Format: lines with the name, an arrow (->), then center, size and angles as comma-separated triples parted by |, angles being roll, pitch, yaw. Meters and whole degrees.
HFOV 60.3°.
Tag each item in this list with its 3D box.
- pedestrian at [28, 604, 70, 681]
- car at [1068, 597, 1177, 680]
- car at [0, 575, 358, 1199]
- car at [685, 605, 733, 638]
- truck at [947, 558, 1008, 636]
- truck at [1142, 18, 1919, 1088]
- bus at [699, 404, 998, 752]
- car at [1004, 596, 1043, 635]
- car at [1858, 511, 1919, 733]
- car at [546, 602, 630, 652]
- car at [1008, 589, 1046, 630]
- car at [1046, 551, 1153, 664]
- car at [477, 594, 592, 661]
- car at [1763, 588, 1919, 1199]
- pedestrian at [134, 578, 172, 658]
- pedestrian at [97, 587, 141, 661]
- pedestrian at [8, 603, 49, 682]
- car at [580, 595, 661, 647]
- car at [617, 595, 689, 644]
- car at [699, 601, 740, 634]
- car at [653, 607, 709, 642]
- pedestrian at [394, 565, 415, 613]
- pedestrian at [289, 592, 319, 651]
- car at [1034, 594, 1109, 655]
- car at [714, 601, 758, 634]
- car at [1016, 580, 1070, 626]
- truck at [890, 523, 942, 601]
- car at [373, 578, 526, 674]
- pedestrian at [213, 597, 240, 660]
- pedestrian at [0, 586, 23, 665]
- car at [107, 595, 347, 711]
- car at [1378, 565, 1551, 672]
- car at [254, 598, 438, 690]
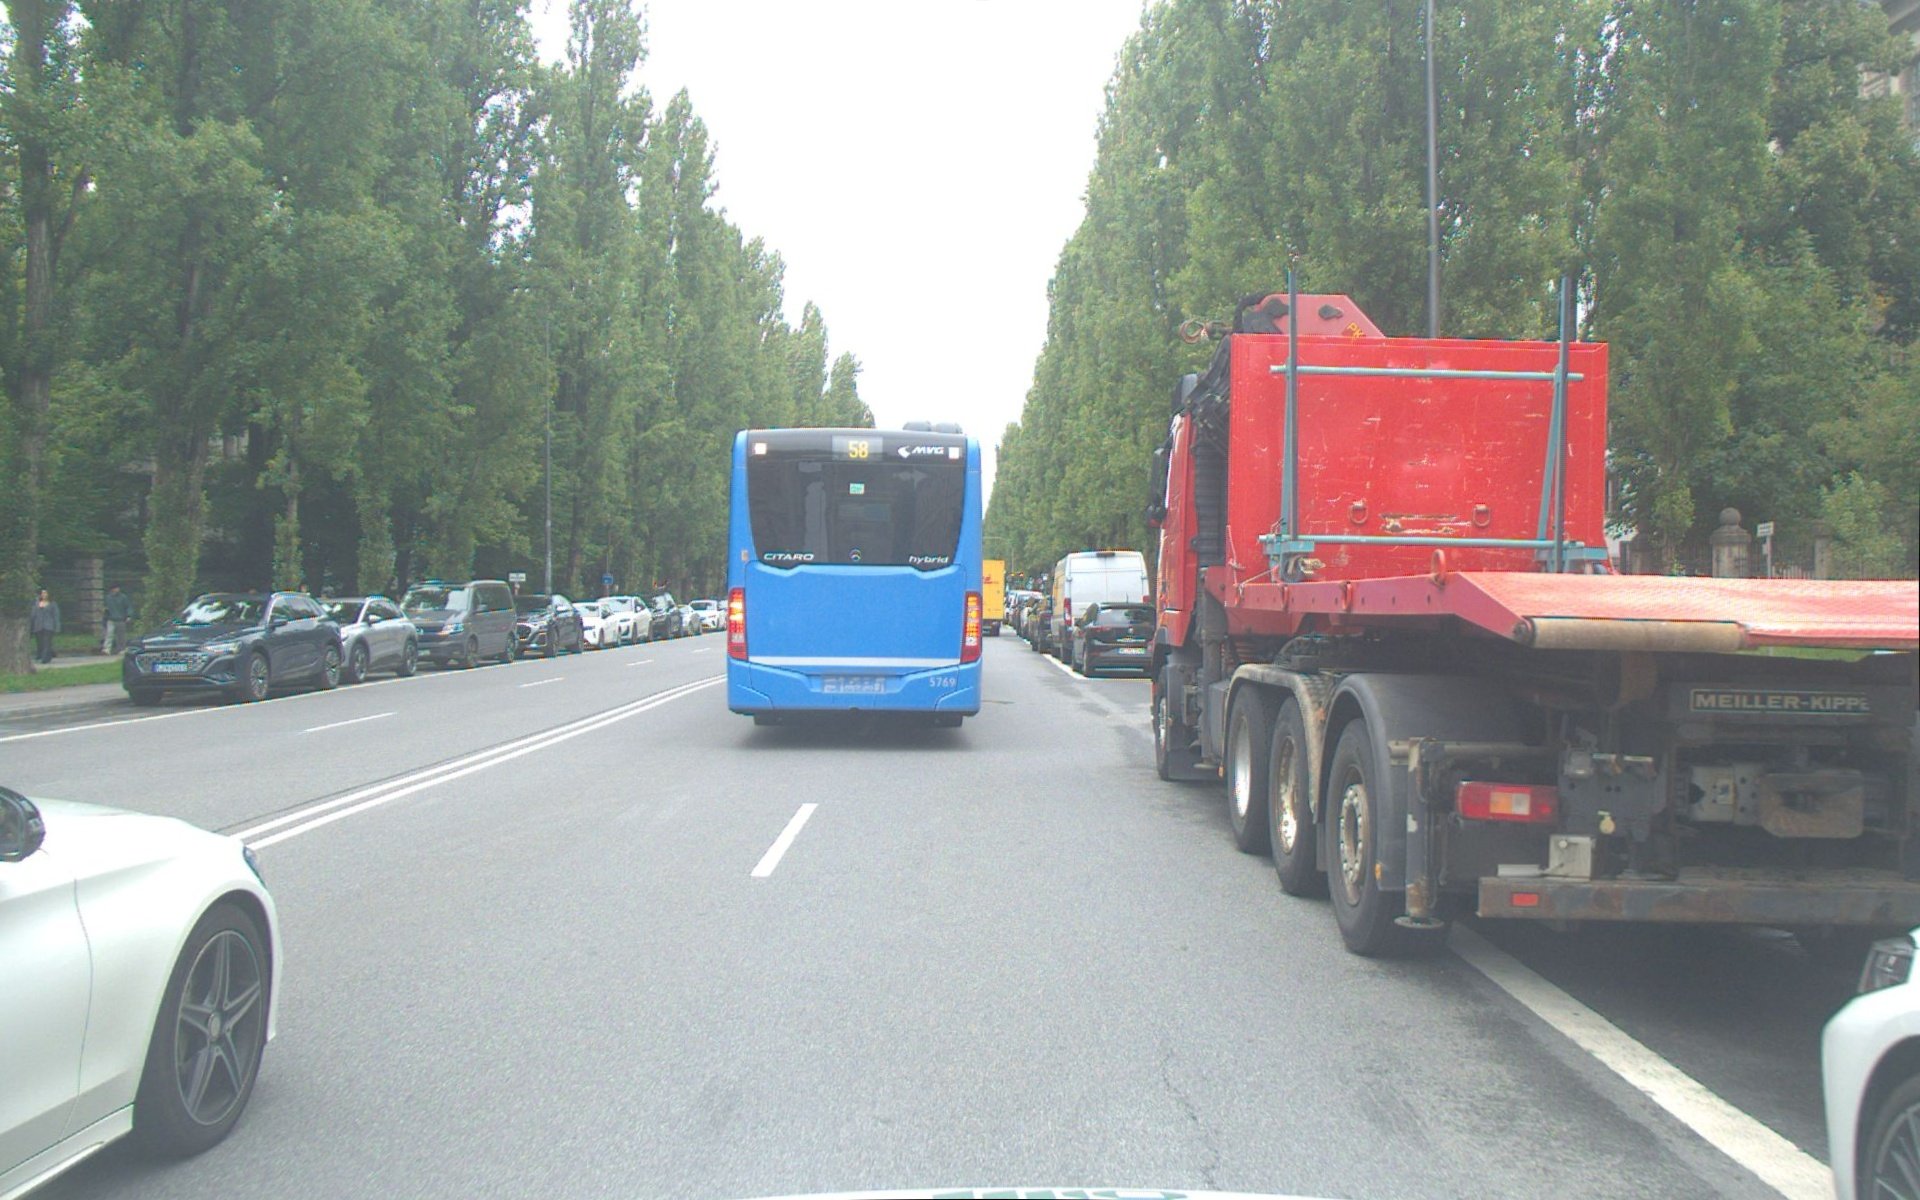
pedestrian -> -20.344, 0.936, 36.931 | 0.538, 1.698, 0.673 | 0, 0, 1
car -> 3.182, 0.716, 33.033 | 1.718, 1.475, 4.000 | 2, 0, 0
car -> -2.814, 0.675, 2.811 | 1.788, 1.480, 4.583 | 1, 0, 1
car -> -11.553, 0.984, 76.337 | 1.651, 1.437, 4.004 | -2, 0, -1
truck -> 0.644, -0.112, 66.219 | 2.280, 2.949, 7.332 | 0, 0, 0
truck -> 2.991, -0.157, 10.118 | 2.658, 3.164, 10.426 | 0, 0, 0
bus -> -1.224, -0.213, 20.154 | 2.798, 3.270, 9.055 | 0, 0, -2
car -> 3.476, 0.822, 91.959 | 2.010, 2.049, 5.692 | 0, 0, 1
car -> 9.513, 0.225, 13.278 | 1.842, 1.978, 4.884 | 1, 0, -1
car -> -11.562, 0.819, 51.598 | 1.642, 1.447, 4.237 | -2, 0, 0
car -> 3.389, 0.473, 83.914 | 1.769, 2.011, 4.236 | 0, 0, 1
car -> 3.325, 0.163, 40.516 | 2.032, 2.522, 6.283 | 1, 0, 0
car -> -11.457, 0.708, 44.880 | 1.778, 1.637, 5.052 | -2, 0, 0
car -> 2.735, 0.734, 1.715 | 1.751, 1.485, 4.217 | 1, 0, 0
pedestrian -> -20.746, 0.461, 42.534 | 0.652, 2.049, 0.638 | 0, 0, -1
pedestrian -> -21.533, 0.608, 42.354 | 0.731, 1.886, 0.757 | 0, 0, 1
pedestrian -> -20.935, 0.947, 37.184 | 0.498, 1.737, 0.723 | 0, 0, 1
car -> -11.637, 0.692, 56.950 | 1.749, 1.616, 4.461 | -2, 0, 1
car -> -11.494, 0.698, 62.152 | 1.842, 1.687, 4.717 | -3, 0, -1
car -> -11.774, 0.848, 81.129 | 1.709, 1.545, 4.113 | -2, 0, -5
car -> -11.492, 0.980, 68.368 | 1.548, 1.327, 4.029 | -2, 0, 1
pedestrian -> -21.040, -0.411, 62.619 | 0.538, 1.778, 0.672 | 0, 0, -1
pedestrian -> -19.892, 0.646, 50.162 | 0.596, 1.787, 0.757 | 0, 0, -1
car -> 3.102, 0.665, 46.577 | 1.783, 1.618, 4.222 | 1, 0, 0
car -> -11.647, 0.880, 86.124 | 1.777, 1.672, 3.999 | 0, 0, -1
car -> 3.081, 0.120, 61.814 | 1.744, 1.609, 4.146 | 2, 0, 0
truck -> -2.414, -1.953, 90.056 | 2.661, 4.035, 9.214 | 0, 0, -2
car -> -11.653, 0.546, 38.124 | 1.953, 1.990, 4.937 | -2, 0, 0
pedestrian -> -20.458, 0.794, 46.129 | 0.498, 1.737, 0.569 | 0, 0, 1
pedestrian -> -21.581, 0.560, 37.127 | 0.653, 1.752, 0.733 | 0, 0, 1
car -> -11.574, 0.765, 26.497 | 1.746, 1.624, 4.613 | -2, 0, 0
car -> 9.929, 0.342, 32.993 | 1.952, 1.980, 5.083 | 0, 0, 1
car -> -11.835, 0.787, 32.233 | 1.852, 1.612, 4.654 | -1, 0, 0
